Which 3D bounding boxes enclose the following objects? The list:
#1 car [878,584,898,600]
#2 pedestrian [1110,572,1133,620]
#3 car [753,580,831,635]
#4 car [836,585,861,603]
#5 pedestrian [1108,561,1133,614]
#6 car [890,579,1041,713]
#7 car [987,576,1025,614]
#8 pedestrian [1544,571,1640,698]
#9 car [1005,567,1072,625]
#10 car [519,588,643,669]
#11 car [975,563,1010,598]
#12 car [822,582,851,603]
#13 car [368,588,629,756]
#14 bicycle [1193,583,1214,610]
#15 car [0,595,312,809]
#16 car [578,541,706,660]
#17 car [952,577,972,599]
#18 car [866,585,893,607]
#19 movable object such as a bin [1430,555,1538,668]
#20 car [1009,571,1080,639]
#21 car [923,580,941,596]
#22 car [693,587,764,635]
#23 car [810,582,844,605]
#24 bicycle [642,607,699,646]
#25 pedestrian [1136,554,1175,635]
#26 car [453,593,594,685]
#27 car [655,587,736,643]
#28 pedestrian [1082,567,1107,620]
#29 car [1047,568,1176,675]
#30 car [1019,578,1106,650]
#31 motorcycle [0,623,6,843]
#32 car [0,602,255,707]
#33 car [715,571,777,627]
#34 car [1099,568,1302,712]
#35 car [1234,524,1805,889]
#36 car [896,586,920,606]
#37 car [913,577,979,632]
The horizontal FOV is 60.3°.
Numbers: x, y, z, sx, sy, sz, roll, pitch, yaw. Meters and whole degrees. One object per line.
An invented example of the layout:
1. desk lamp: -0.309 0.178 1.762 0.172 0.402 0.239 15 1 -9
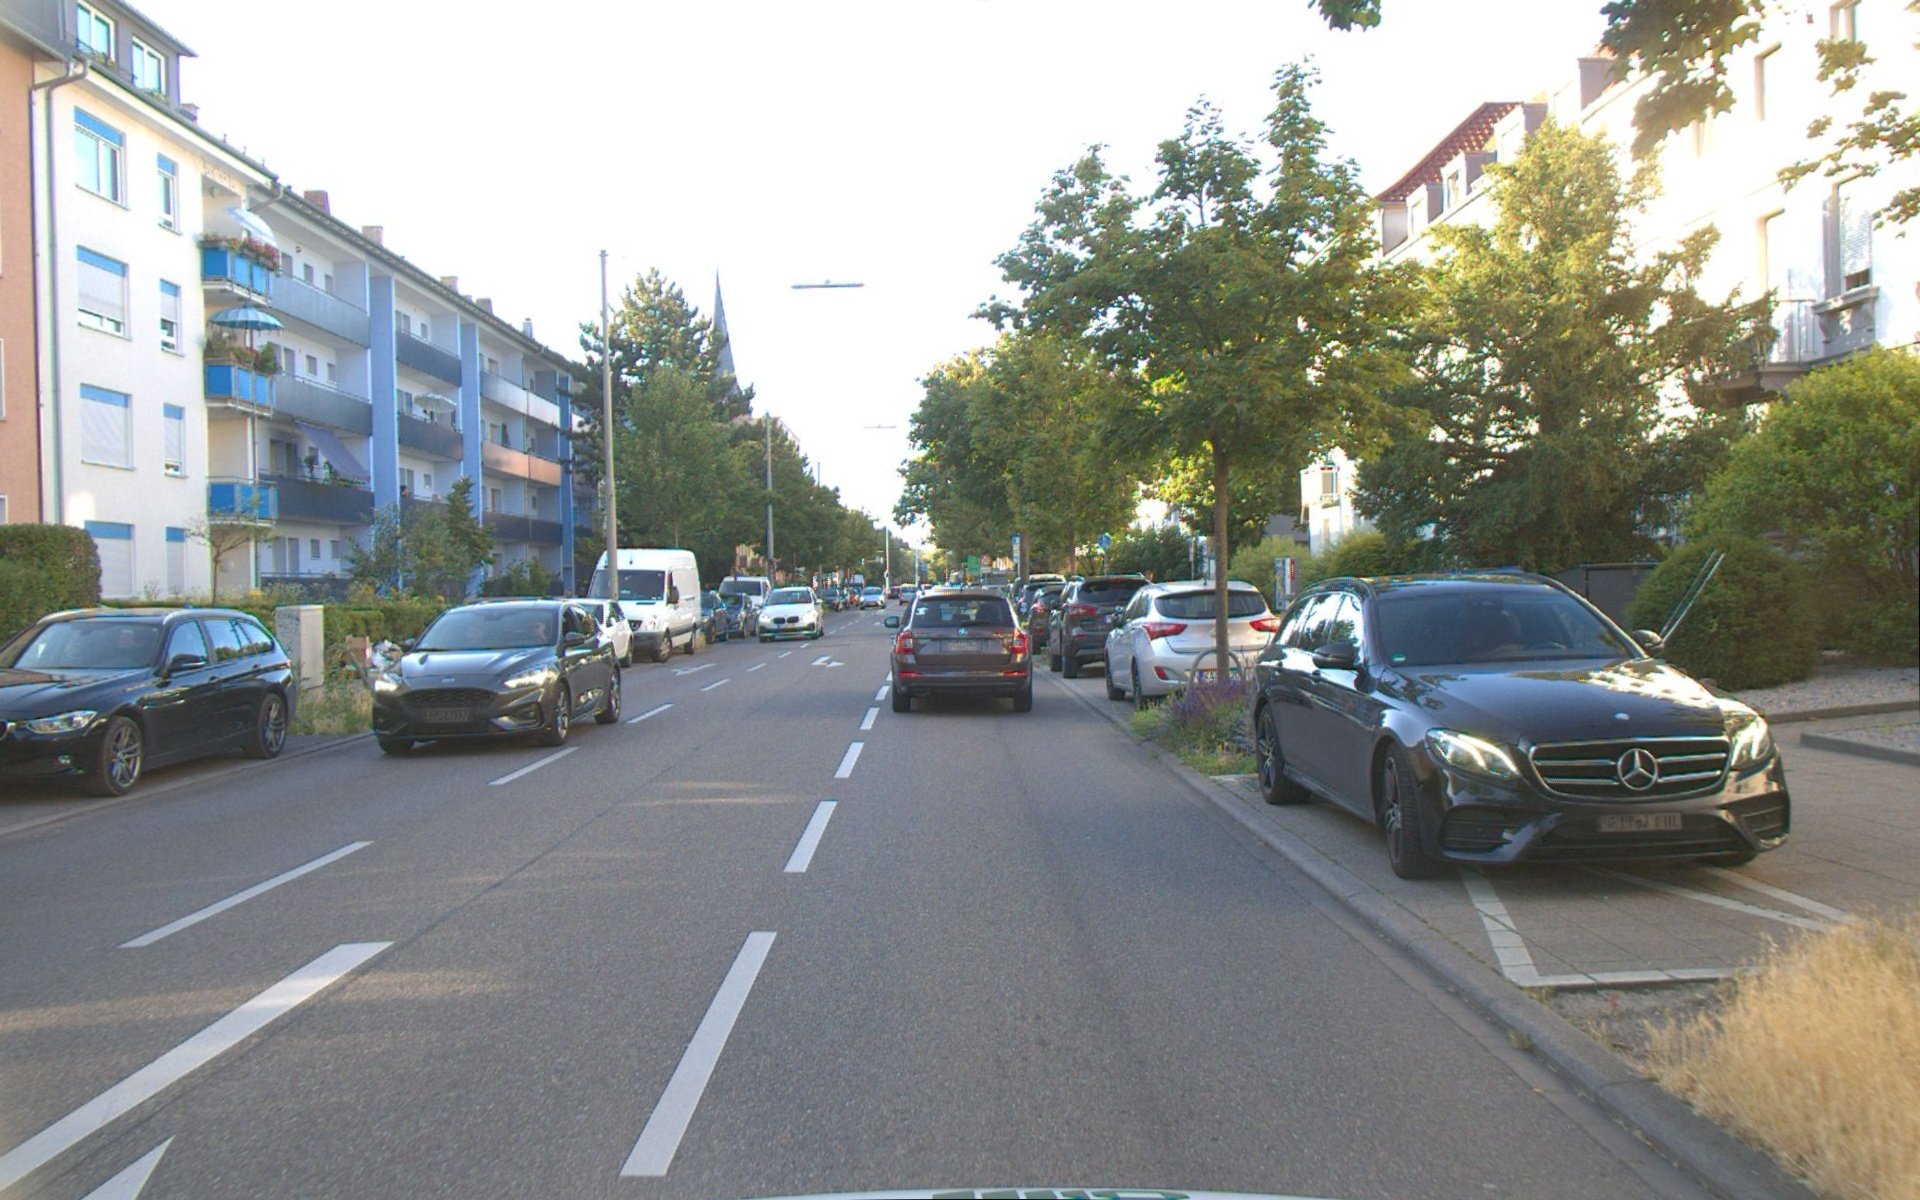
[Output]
1. car: -8.250 -0.888 189.730 1.955 1.780 3.995 -1 0 -6
2. pedestrian: 6.072 -0.145 62.024 0.781 1.751 0.745 -2 0 8
3. car: -5.072 0.197 50.433 1.841 1.570 4.267 -1 1 1
4. car: -9.149 -0.496 135.894 1.744 1.506 3.972 0 1 1
5. pedestrian: 5.850 -0.466 60.097 0.781 1.893 0.951 -2 0 10
6. car: 0.093 0.509 20.932 1.718 1.518 4.000 0 1 1
7. car: 2.119 -0.237 77.156 1.718 1.716 4.253 0 1 1
8. pedestrian: 6.469 0.345 16.957 0.659 1.256 0.790 -1 0 -1
9. car: 2.539 -0.148 54.263 1.764 1.840 4.421 0 1 -3
10. car: -7.787 0.539 34.335 1.672 1.518 4.058 1 1 -1
11. car: 1.839 -1.116 93.650 1.877 1.893 5.633 -1 1 1
12. car: -8.924 -0.558 119.728 1.744 1.506 3.972 0 1 1
13. car: -4.735 0.655 17.602 1.666 1.496 4.292 -2 0 -2
14. bicycle: 8.951 -0.138 60.843 0.465 0.961 1.680 -2 1 -1
15. car: -7.372 0.747 14.358 1.742 1.531 4.588 -1 1 -1
16. car: -7.678 -0.020 40.637 1.953 2.662 7.103 0 1 -1
17. car: 0.174 -1.005 141.589 1.718 1.837 4.000 0 1 -1
18. car: -5.769 -0.282 118.540 1.744 1.520 3.970 0 1 0
19. movable object such as a bin: 7.538 0.152 23.865 1.240 1.518 1.140 -3 0 9
20. car: 2.261 0.100 45.074 1.718 1.691 4.253 -2 0 1
21. car: -3.160 -1.343 184.741 1.613 1.627 3.645 -1 0 -6
22. car: -7.712 0.328 55.412 1.657 1.509 4.144 -1 1 1
23. car: -8.592 -0.438 107.215 1.744 1.506 4.034 0 1 1
24. bicycle: -7.805 0.716 44.605 1.441 1.032 0.440 0 0 6
25. pedestrian: 4.233 -0.124 35.853 0.771 1.730 0.808 -1 0 4
26. car: -7.751 0.648 29.659 1.579 1.498 3.812 1 1 -1
27. car: -7.941 0.404 49.919 1.638 1.570 4.474 -1 1 1
28. pedestrian: 4.915 -0.246 60.564 0.733 1.893 1.068 -2 0 -2
29. car: 2.474 0.307 27.920 1.683 1.629 4.095 -1 1 -1
30. car: 2.283 0.279 37.654 1.580 1.491 3.958 -2 1 -1
31. motorcycle: -7.298 0.854 10.601 2.002 1.413 0.979 1 -1 -33
32. car: -12.994 0.793 24.895 3.906 1.437 1.916 1 0 -1
33. car: -8.195 -0.063 63.781 1.831 2.066 5.299 0 1 -2
34. car: 2.815 0.410 20.242 1.684 1.520 4.392 -1 1 -2
35. car: 2.996 0.470 10.085 1.836 1.608 4.821 -3 1 1
36. car: -4.173 -0.323 132.530 1.746 1.506 3.968 0 1 -4
37. car: -0.455 0.142 49.945 1.854 1.533 3.788 2 -1 -1
